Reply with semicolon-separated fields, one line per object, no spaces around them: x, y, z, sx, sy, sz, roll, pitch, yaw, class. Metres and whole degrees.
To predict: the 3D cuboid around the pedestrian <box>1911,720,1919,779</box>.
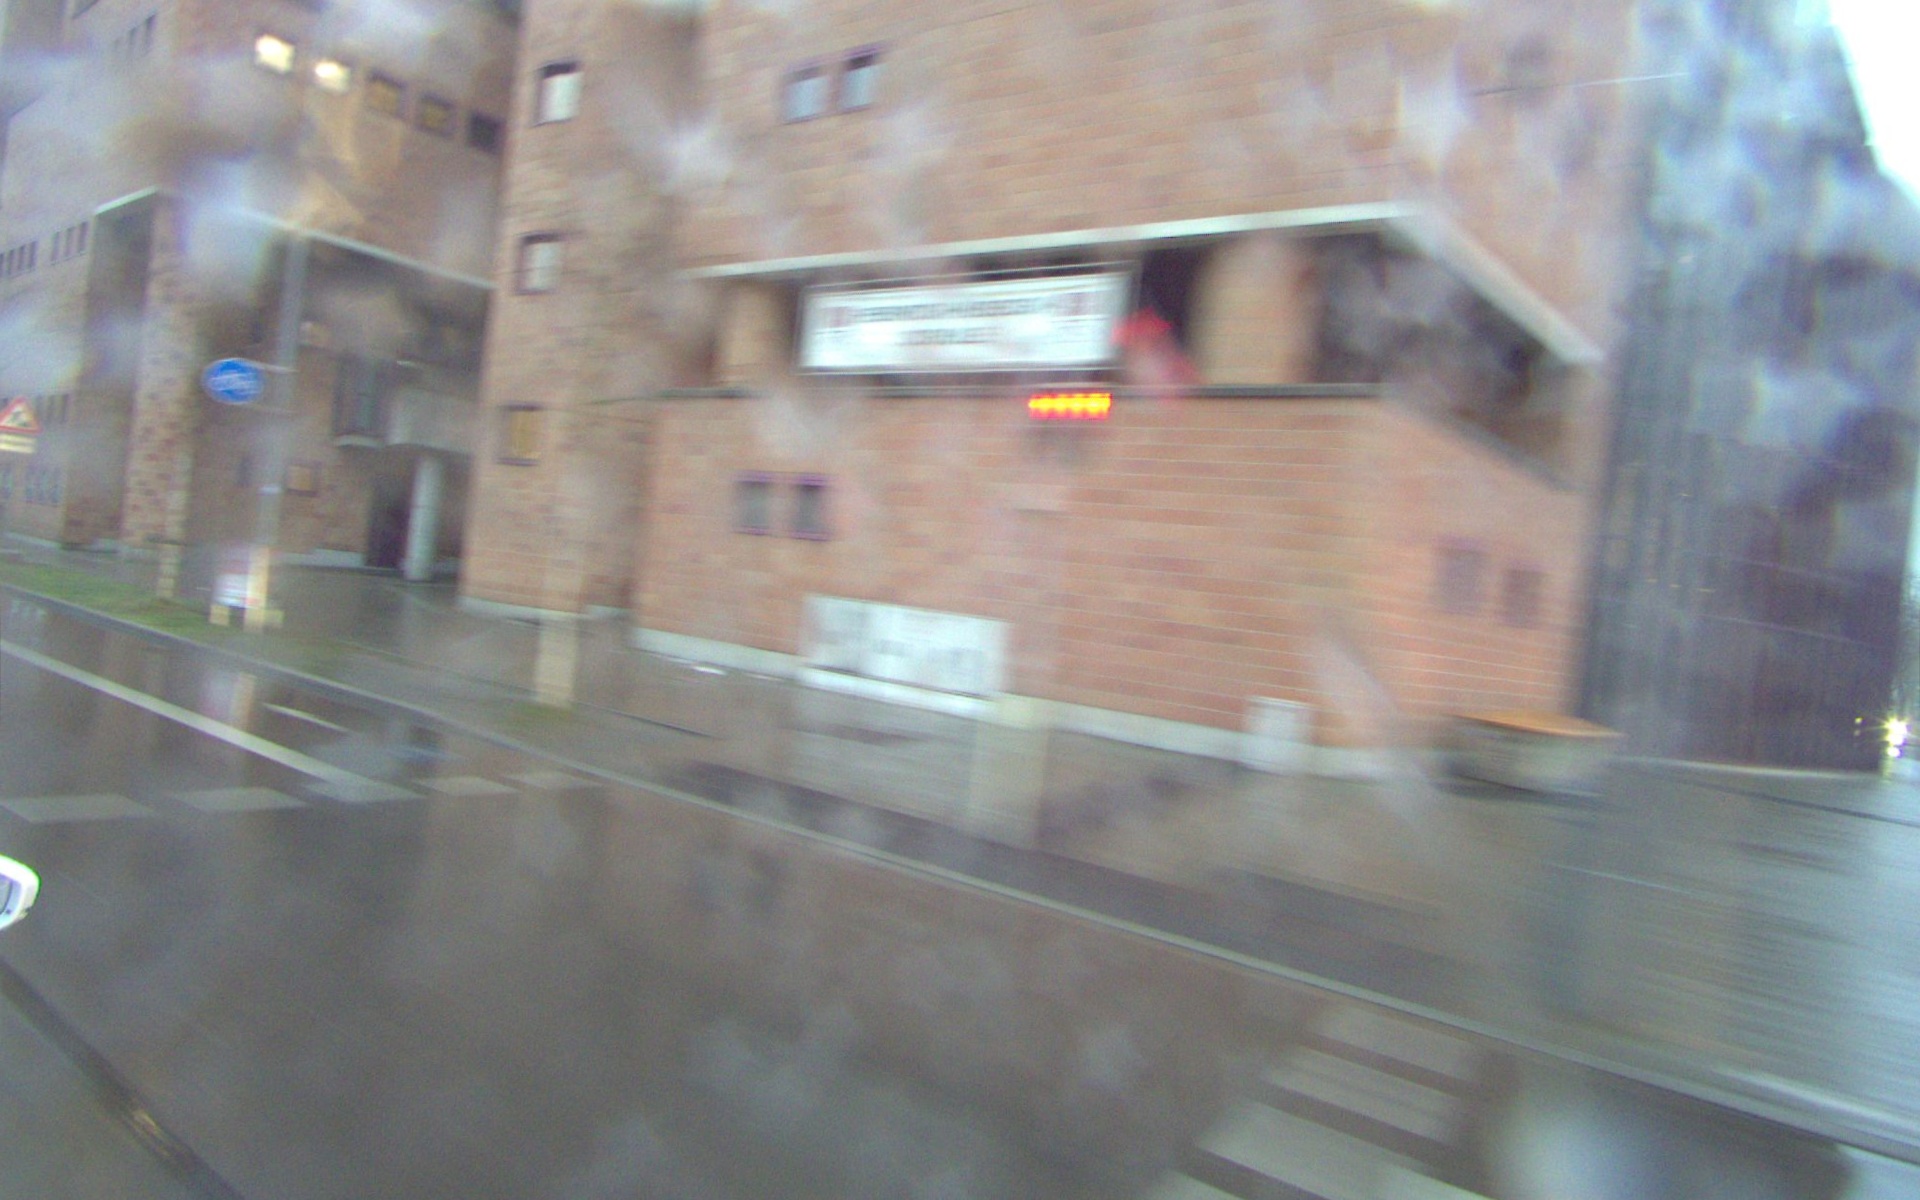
23.408;3.632;24.039;0.732;1.406;0.730;6;1;-34;pedestrian
